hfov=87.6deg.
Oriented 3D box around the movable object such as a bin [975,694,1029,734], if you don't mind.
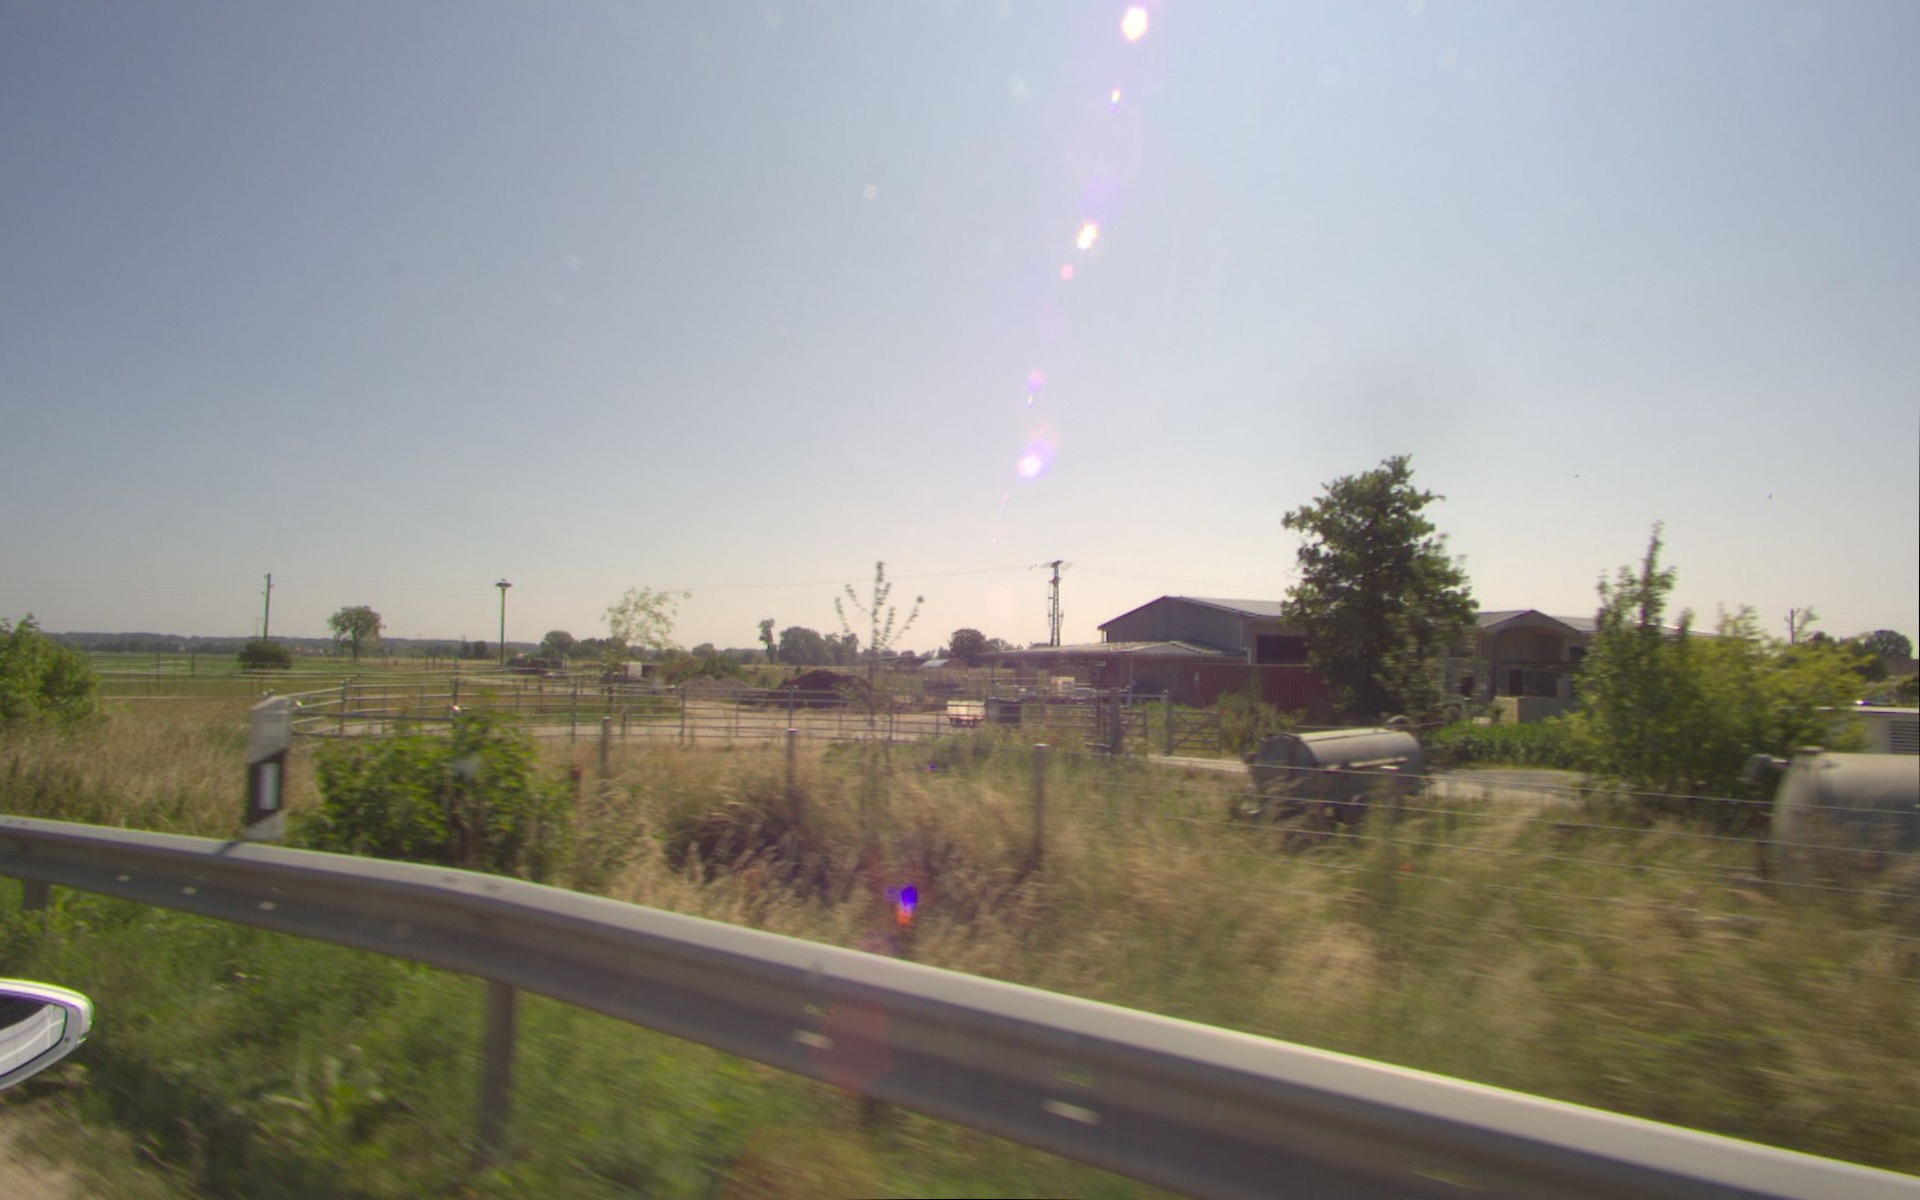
[{"bbox_3d":[1.508,4.065,35.770,1.353,1.365,1.511,3,-4,-27],"label":"movable object such as a bin"}]
